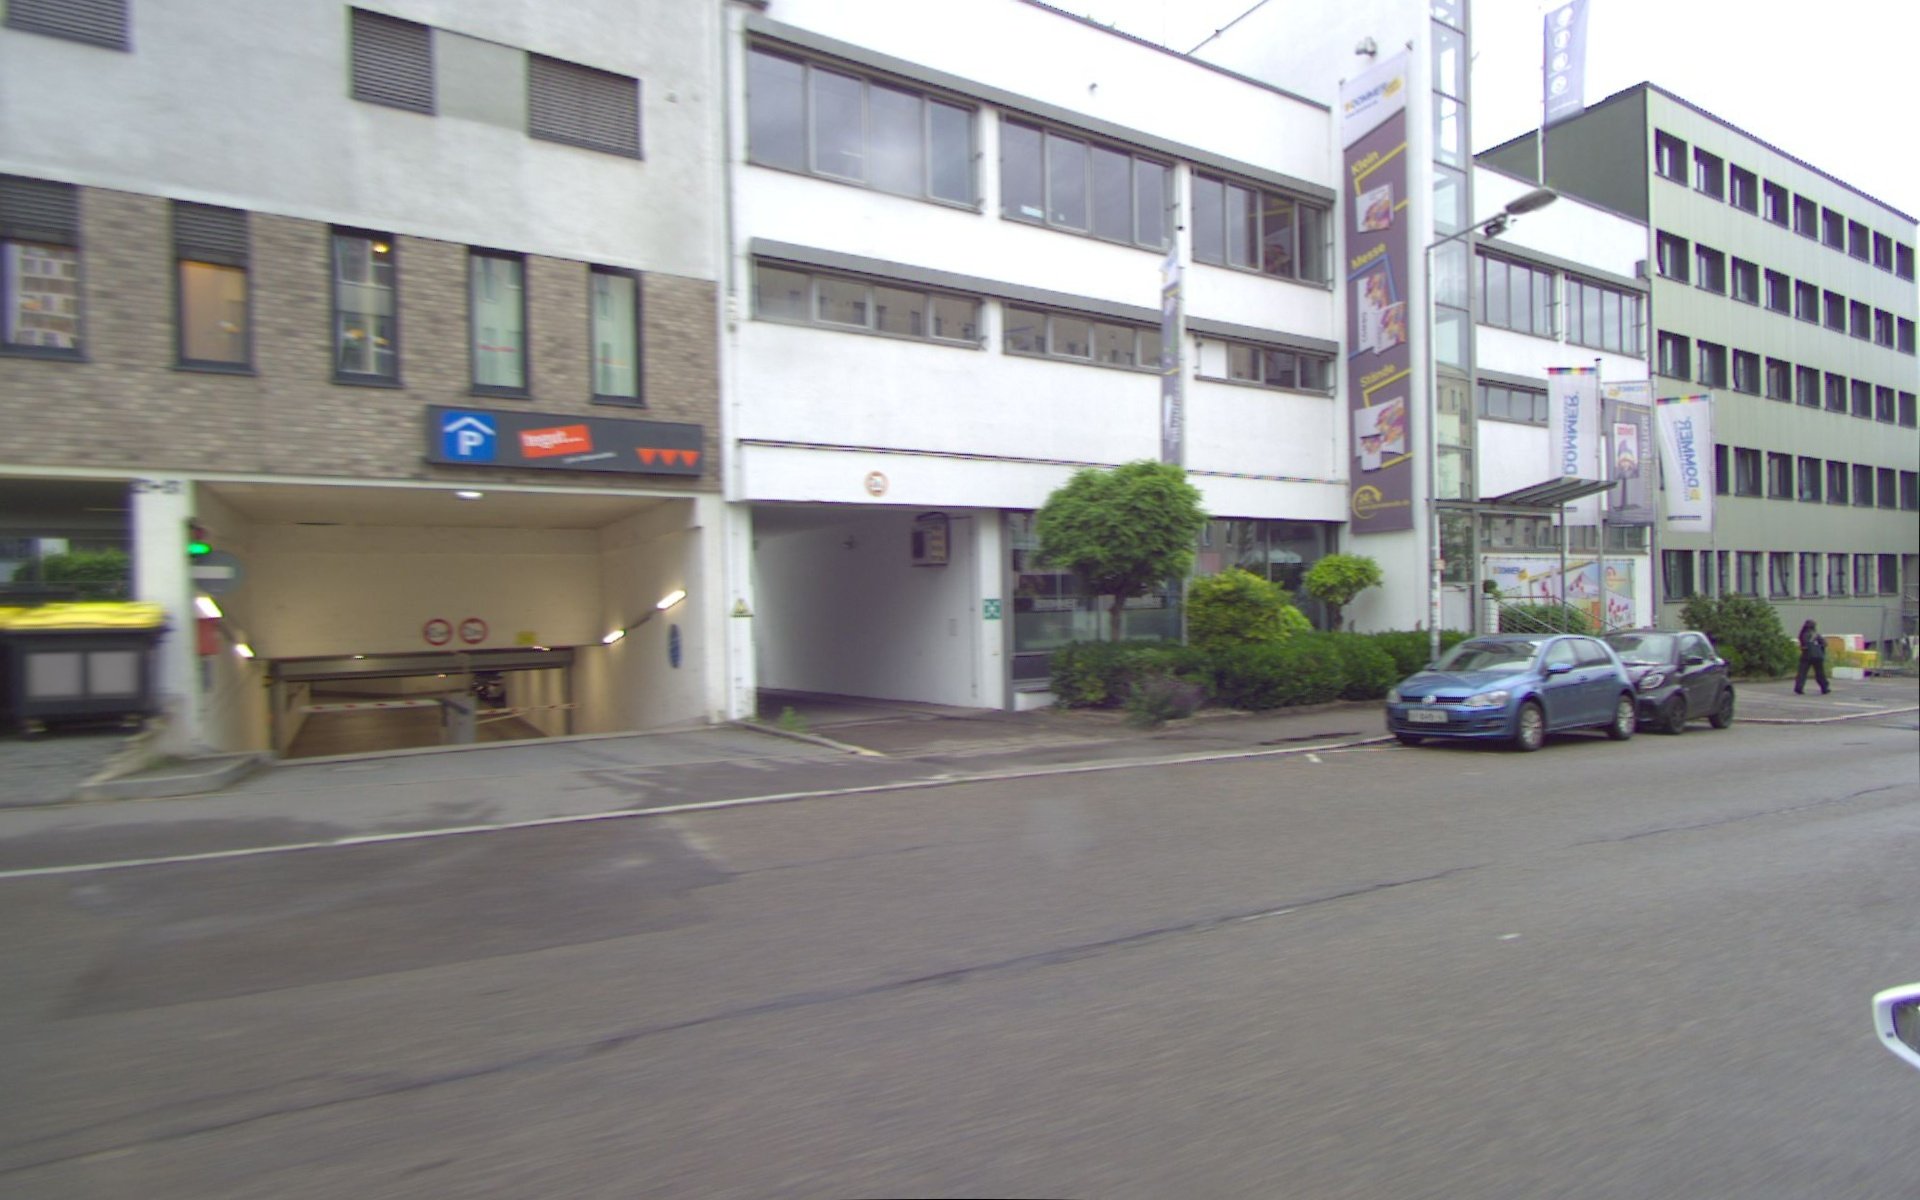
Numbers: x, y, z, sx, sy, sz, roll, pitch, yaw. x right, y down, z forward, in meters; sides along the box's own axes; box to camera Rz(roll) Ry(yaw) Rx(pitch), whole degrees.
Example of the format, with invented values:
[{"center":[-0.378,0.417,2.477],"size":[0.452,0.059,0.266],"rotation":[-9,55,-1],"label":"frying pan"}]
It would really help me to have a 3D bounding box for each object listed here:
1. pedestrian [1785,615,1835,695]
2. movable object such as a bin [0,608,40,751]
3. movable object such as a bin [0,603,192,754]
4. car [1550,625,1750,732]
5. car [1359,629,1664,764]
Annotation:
[{"center":[18.926,1.206,22.384],"size":[0.718,1.731,0.901],"rotation":[0,-2,31],"label":"pedestrian"},{"center":[-10.969,0.813,10.795],"size":[1.304,1.442,2.040],"rotation":[1,0,-35],"label":"movable object such as a bin"},{"center":[-9.700,0.846,11.382],"size":[1.467,1.530,1.784],"rotation":[1,-3,-35],"label":"movable object such as a bin"},{"center":[11.006,1.183,15.990],"size":[3.137,1.534,1.555],"rotation":[1,-2,-33],"label":"car"},{"center":[7.515,1.193,13.563],"size":[4.312,1.500,1.902],"rotation":[2,-1,-35],"label":"car"}]
